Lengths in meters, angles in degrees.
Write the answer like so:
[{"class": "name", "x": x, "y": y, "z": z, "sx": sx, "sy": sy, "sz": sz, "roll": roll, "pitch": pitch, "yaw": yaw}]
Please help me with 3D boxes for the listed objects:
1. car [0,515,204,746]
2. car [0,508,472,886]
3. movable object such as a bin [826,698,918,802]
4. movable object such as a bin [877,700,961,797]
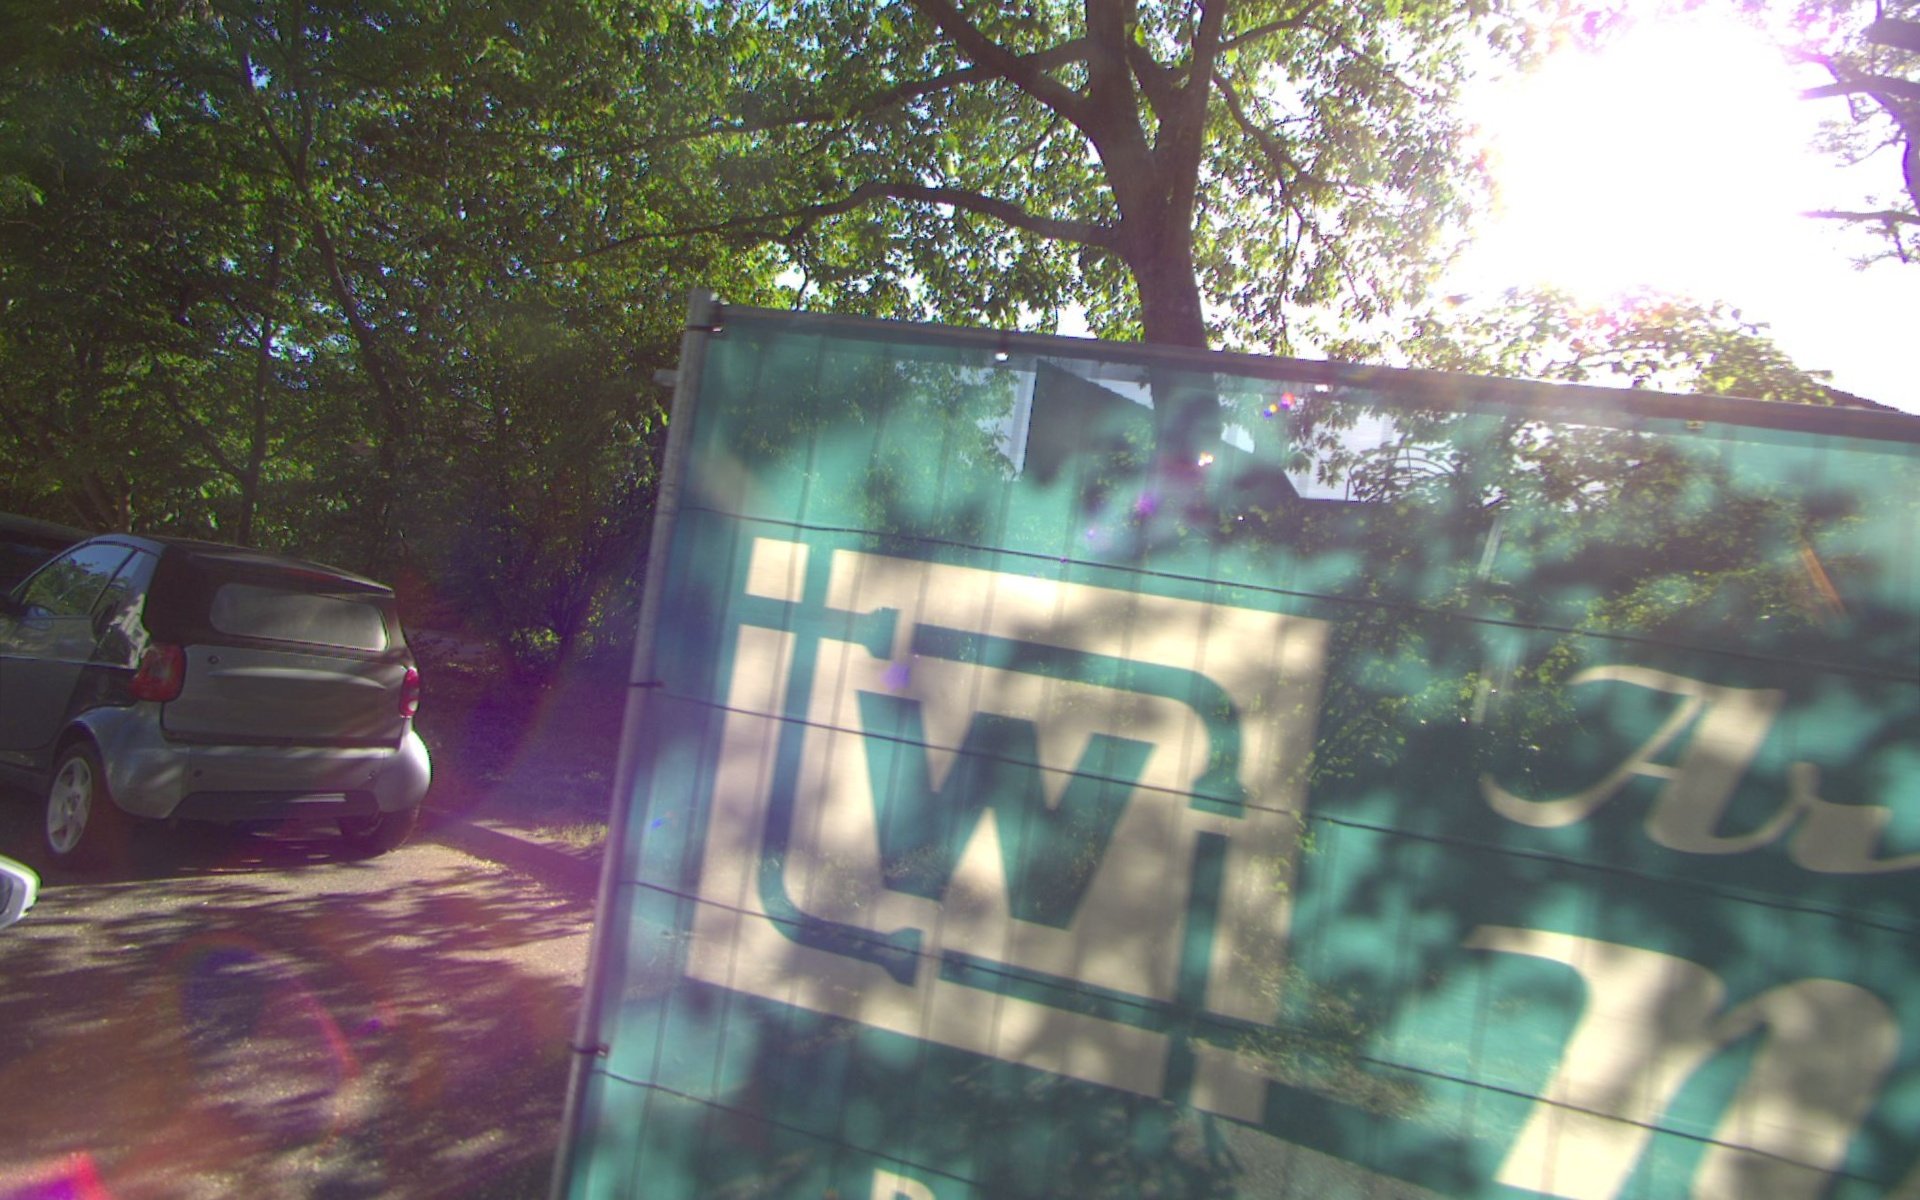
[{"class": "car", "x": -8.135, "y": 0.009, "z": 7.828, "sx": 4.075, "sy": 1.525, "sz": 1.720, "roll": 7, "pitch": -4, "yaw": 25}, {"class": "car", "x": -4.341, "y": 0.438, "z": 5.626, "sx": 2.631, "sy": 1.525, "sz": 1.499, "roll": 7, "pitch": -4, "yaw": 30}, {"class": "movable object such as a bin", "x": -0.800, "y": 1.363, "z": 9.263, "sx": 0.455, "sy": 0.890, "sz": 0.727, "roll": 0, "pitch": -5, "yaw": 33}, {"class": "movable object such as a bin", "x": -0.397, "y": 1.442, "z": 9.876, "sx": 0.455, "sy": 0.890, "sz": 0.727, "roll": 0, "pitch": -5, "yaw": 33}]
